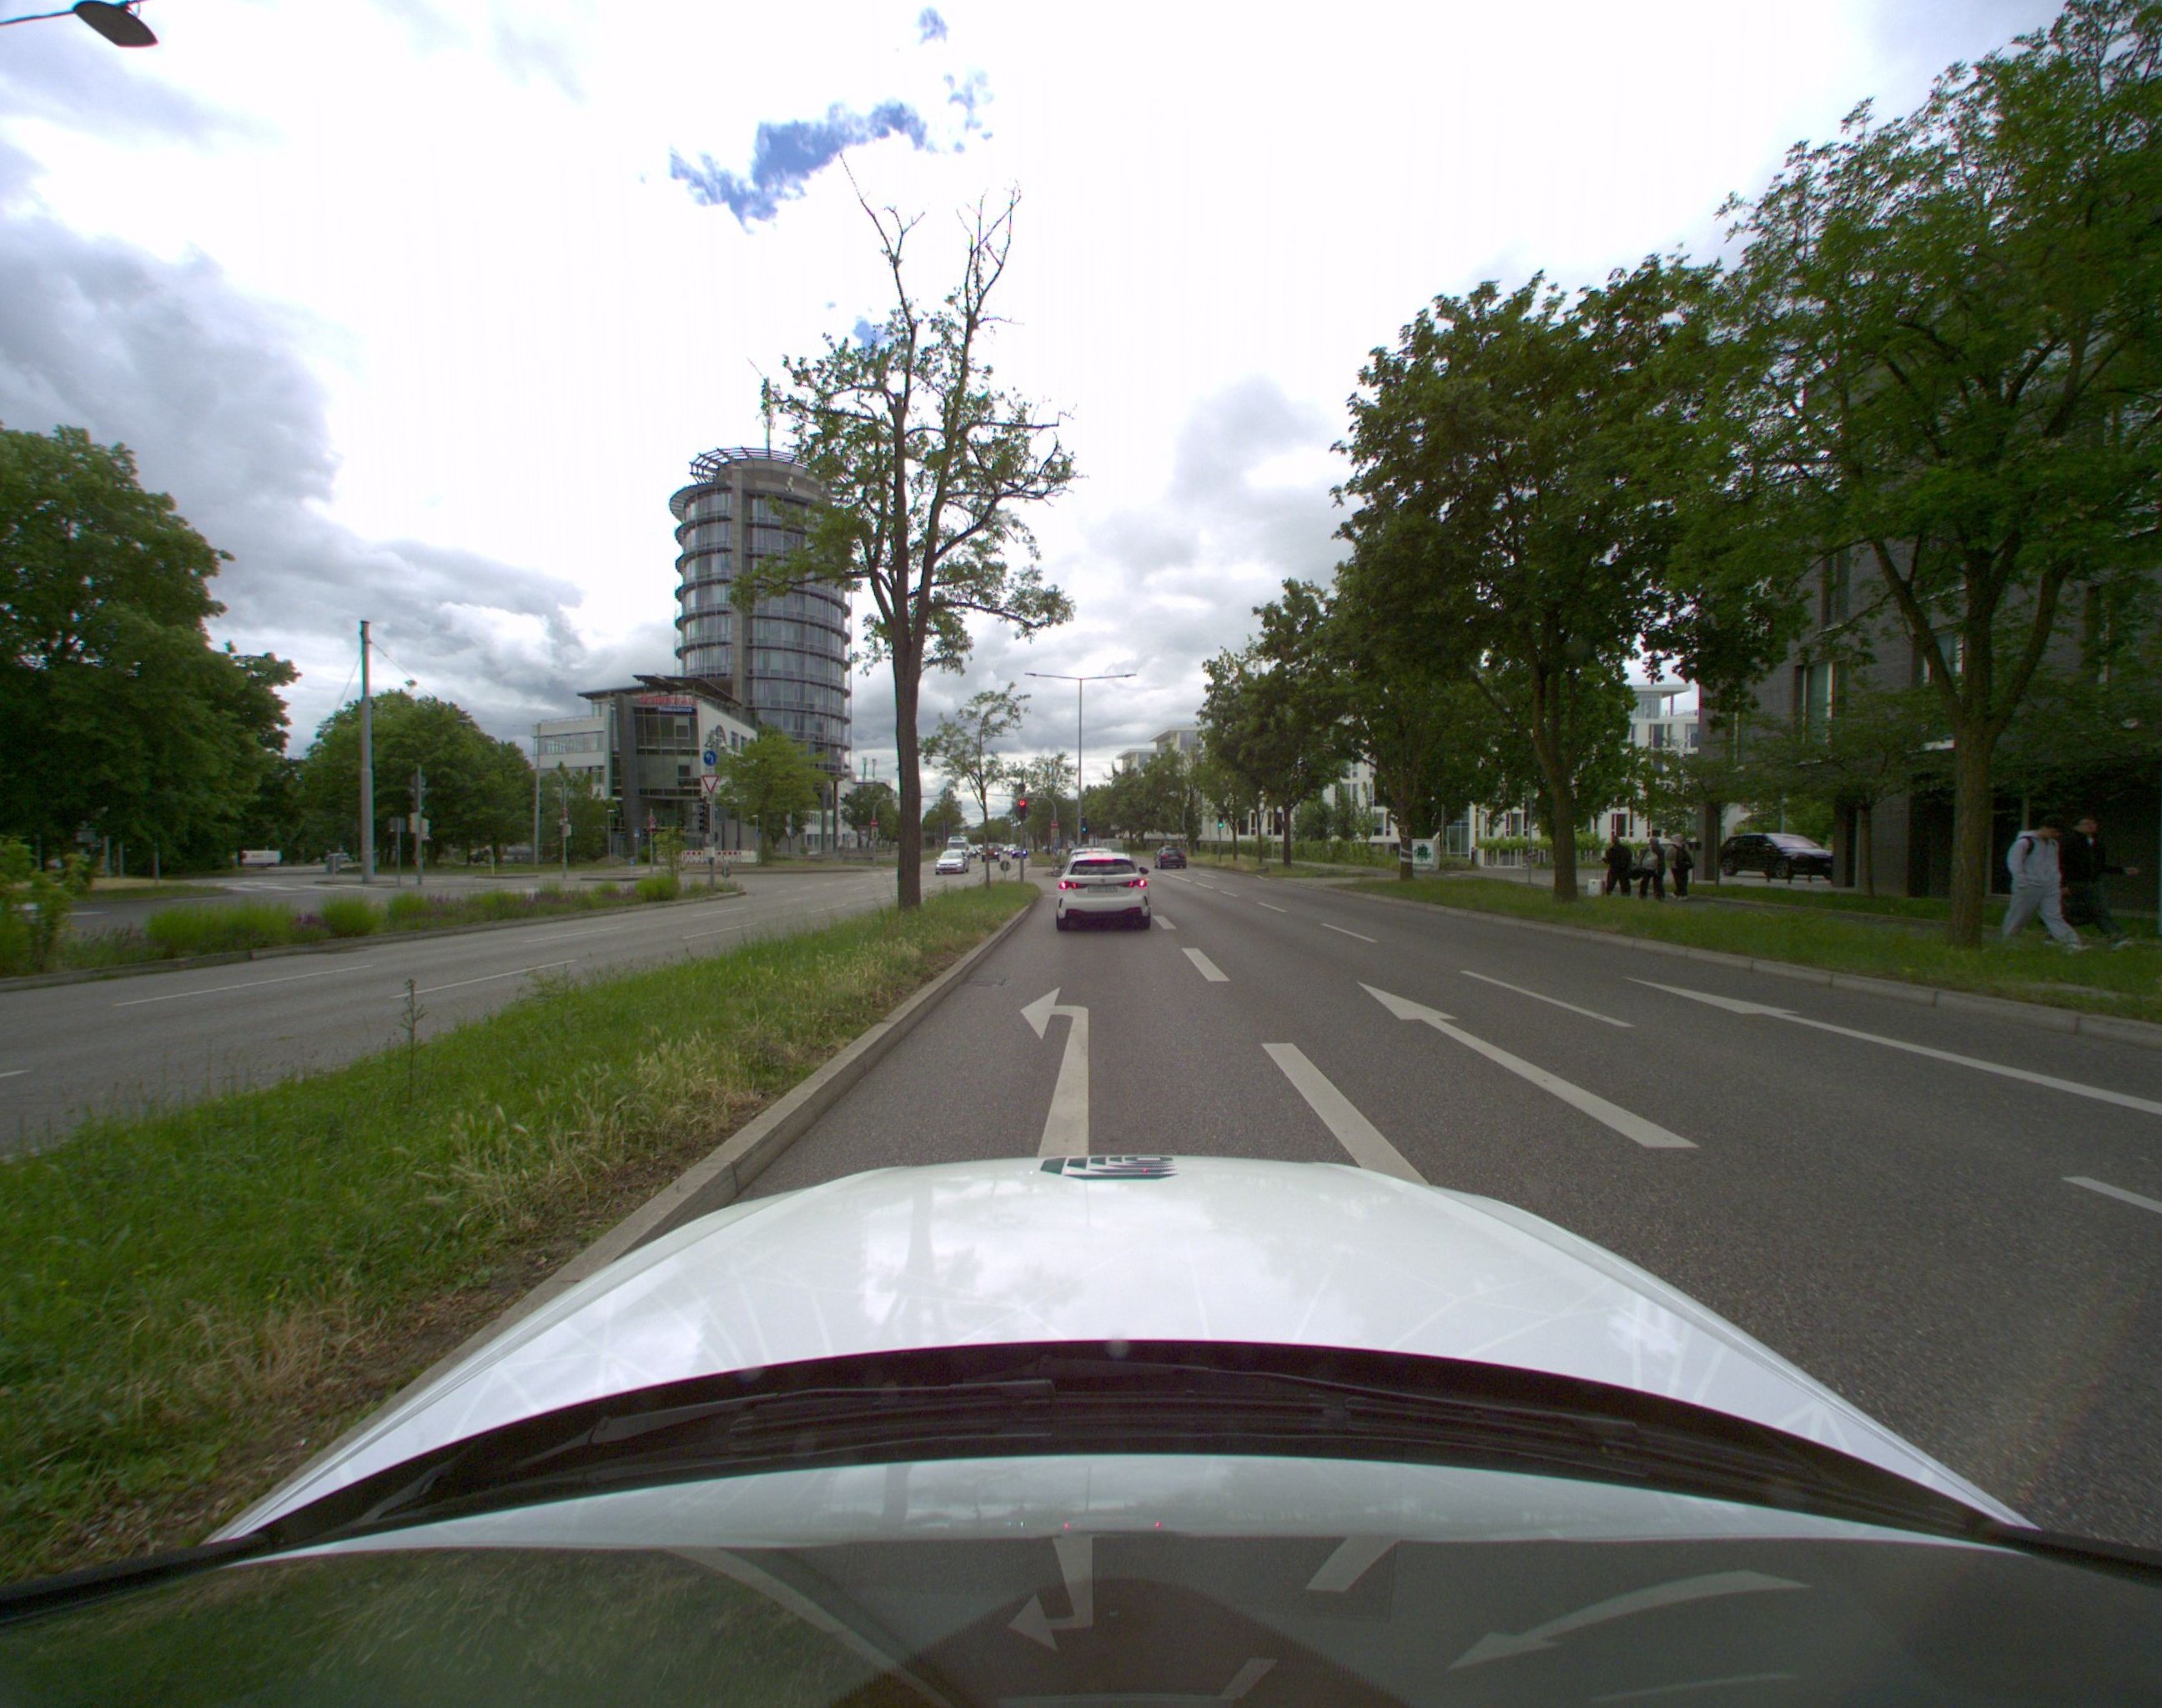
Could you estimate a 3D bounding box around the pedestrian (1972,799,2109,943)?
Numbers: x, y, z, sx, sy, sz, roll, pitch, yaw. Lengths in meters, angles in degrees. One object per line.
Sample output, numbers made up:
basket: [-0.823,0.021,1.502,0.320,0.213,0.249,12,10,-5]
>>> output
pedestrian: [12.369,0.188,10.532,0.606,1.775,0.954,0,2,2]

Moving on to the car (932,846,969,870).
car: [-8.253,0.214,51.952,1.748,1.444,4.132,1,1,-2]

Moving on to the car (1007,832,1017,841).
car: [-15.421,-3.943,182.815,1.988,2.010,4.322,1,0,-2]

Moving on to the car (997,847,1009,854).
car: [-15.328,-0.681,160.074,1.988,1.490,3.998,0,1,-1]

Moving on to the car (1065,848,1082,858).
car: [-1.189,-0.220,124.084,1.993,1.508,3.988,0,0,-9]

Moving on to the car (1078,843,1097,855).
car: [0.827,-0.658,106.583,1.991,1.508,3.992,-1,1,-6]

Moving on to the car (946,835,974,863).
car: [-12.027,-0.536,81.075,1.988,2.634,5.871,1,0,-2]

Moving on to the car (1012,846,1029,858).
car: [-7.247,-0.304,97.813,1.747,1.371,3.781,-1,0,1]

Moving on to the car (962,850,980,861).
car: [-14.298,0.148,106.085,1.702,1.419,3.804,-1,0,1]

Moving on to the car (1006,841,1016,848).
car: [-17.285,-2.313,200.334,1.986,1.618,4.001,1,0,1]

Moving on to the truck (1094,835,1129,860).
truck: [3.256,-0.670,88.243,2.856,2.519,6.273,0,0,-6]

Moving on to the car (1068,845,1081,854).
car: [-1.095,-0.723,126.736,1.988,1.490,3.998,0,1,-1]

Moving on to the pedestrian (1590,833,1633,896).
pedestrian: [13.405,0.258,20.597,0.722,1.552,0.588,0,0,6]

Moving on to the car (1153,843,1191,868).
car: [5.987,0.076,53.825,1.988,1.596,3.998,0,0,-1]

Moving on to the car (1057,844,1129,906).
car: [0.403,0.579,24.363,1.986,1.672,4.002,0,0,2]

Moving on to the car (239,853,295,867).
car: [-128.098,0.946,128.290,1.977,2.013,6.012,0,0,18]

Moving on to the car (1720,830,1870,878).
car: [25.002,-0.015,28.750,1.817,1.552,4.183,0,0,3]

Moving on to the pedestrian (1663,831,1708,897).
pedestrian: [14.576,0.229,19.646,0.586,1.552,0.745,0,0,6]

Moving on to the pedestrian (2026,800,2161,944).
pedestrian: [13.110,0.203,10.534,0.606,1.775,0.954,0,2,2]

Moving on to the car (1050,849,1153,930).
car: [0.491,0.645,16.741,1.855,1.449,4.004,0,0,4]

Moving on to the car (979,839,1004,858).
car: [-9.431,-0.550,85.999,1.928,1.918,4.974,0,0,1]

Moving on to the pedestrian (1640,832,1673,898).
pedestrian: [13.866,0.265,19.627,0.407,1.552,0.563,1,0,6]

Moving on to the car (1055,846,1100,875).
car: [-0.149,0.349,45.606,1.983,1.508,4.008,0,0,7]

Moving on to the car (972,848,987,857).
car: [-16.189,-0.237,129.941,1.702,1.419,3.804,-1,0,1]

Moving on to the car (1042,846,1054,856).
car: [-5.378,-0.506,133.371,1.988,1.490,3.998,0,1,-1]
